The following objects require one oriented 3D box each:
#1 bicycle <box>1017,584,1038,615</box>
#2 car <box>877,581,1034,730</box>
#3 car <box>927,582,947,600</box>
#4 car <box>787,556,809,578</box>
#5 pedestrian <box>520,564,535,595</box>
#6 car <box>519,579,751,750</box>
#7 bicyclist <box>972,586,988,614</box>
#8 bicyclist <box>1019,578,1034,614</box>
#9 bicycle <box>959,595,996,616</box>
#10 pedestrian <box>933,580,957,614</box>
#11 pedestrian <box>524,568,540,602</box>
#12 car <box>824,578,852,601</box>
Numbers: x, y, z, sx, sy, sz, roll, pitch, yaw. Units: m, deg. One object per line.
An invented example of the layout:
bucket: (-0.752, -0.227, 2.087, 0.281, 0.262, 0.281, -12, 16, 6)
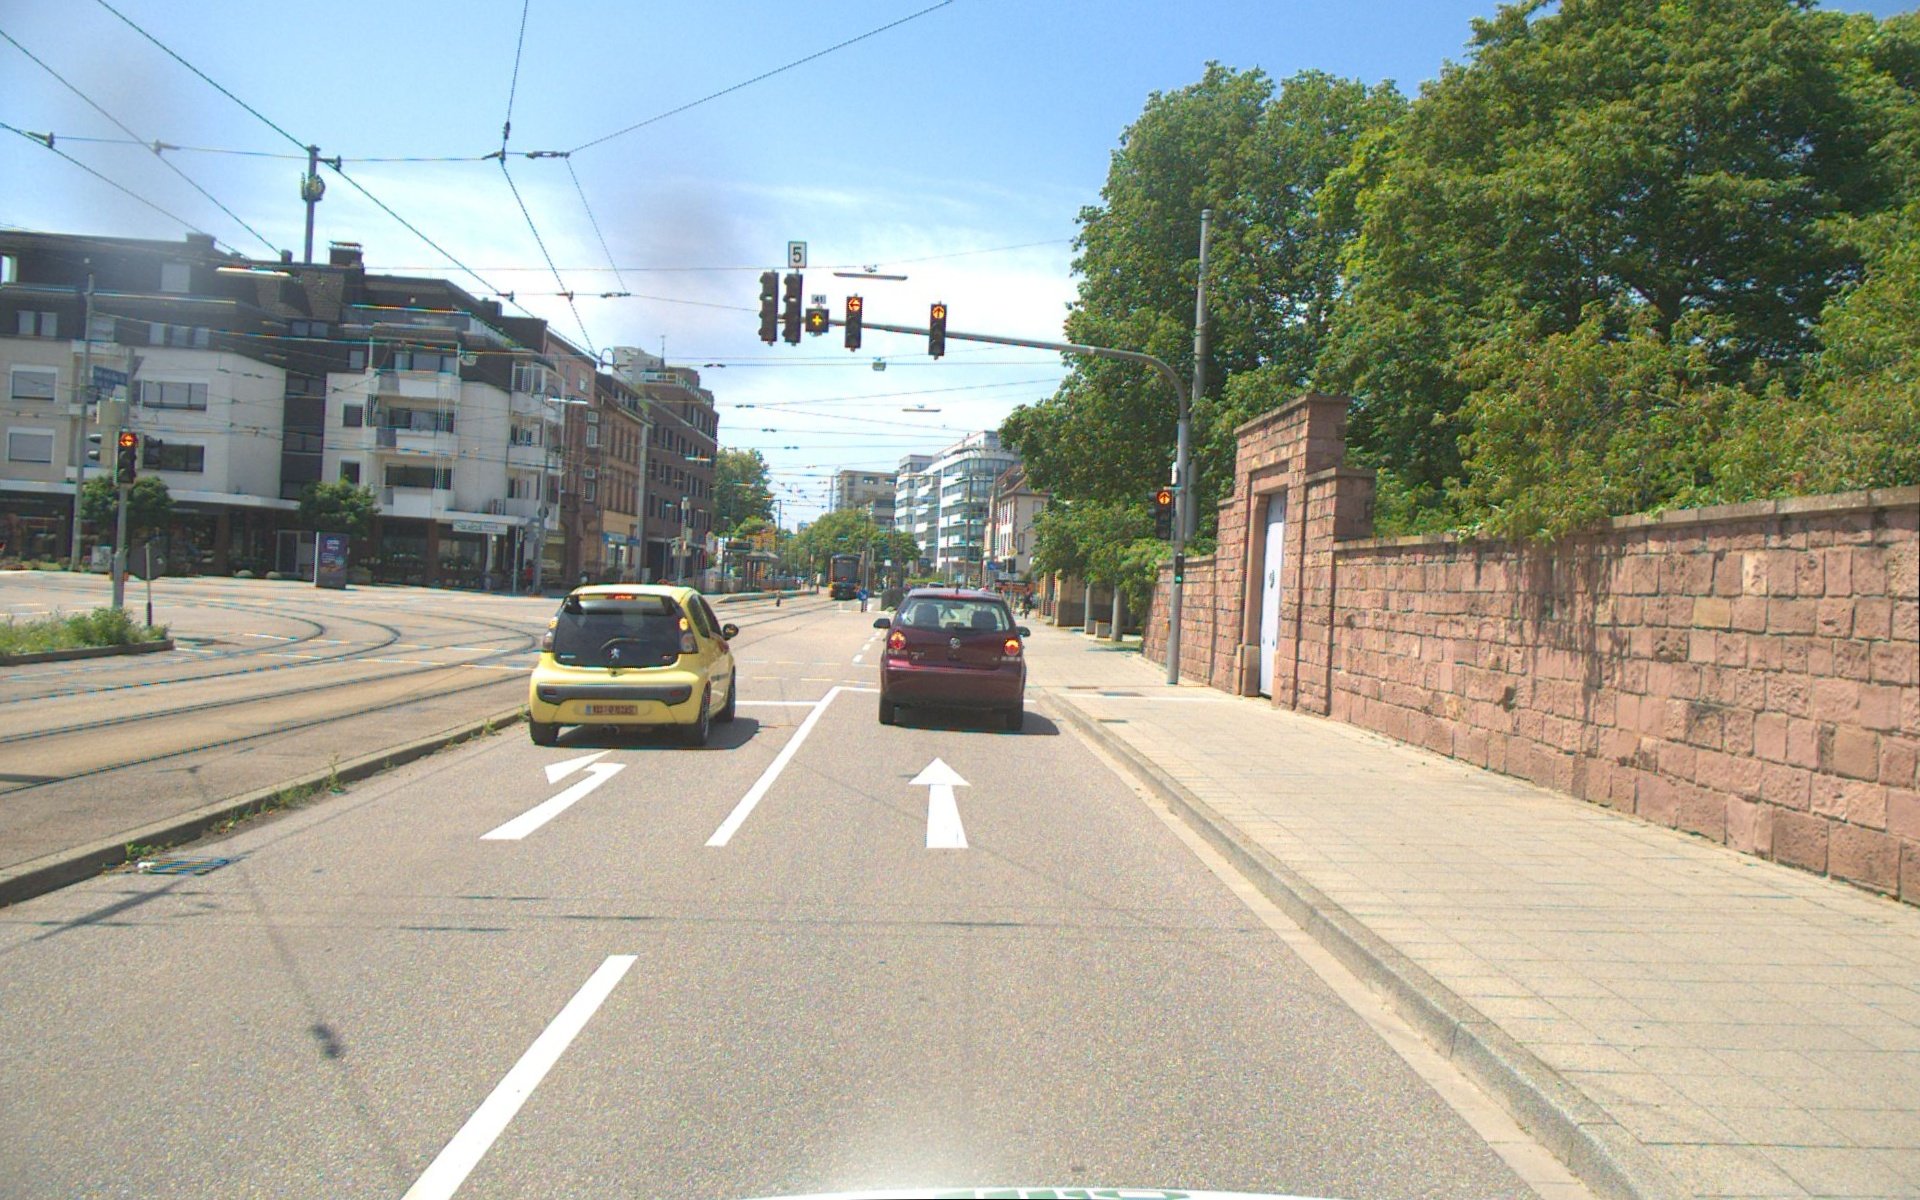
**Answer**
bicycle: (3.486, -0.039, 85.708, 0.818, 1.552, 3.999, 1, 0, -1)
car: (-0.097, 0.562, 19.349, 1.577, 1.489, 4.084, 3, 0, -2)
car: (-1.810, -0.706, 130.754, 1.540, 1.440, 3.719, 0, 1, -1)
car: (-16.188, -3.309, 165.269, 1.700, 2.048, 4.000, 2, 1, -1)
pedestrian: (-22.220, -1.048, 85.018, 0.474, 1.568, 0.538, 1, -1, 23)
car: (-3.083, 0.552, 16.294, 1.688, 1.470, 3.292, 1, 1, -1)
bicyclist: (1.008, -0.003, 85.027, 0.751, 1.430, 0.506, 1, -1, -5)
bicyclist: (3.451, -0.183, 86.381, 0.707, 1.850, 0.888, 1, -1, -1)
bicycle: (0.911, 0.298, 85.057, 1.829, 1.025, 0.578, 1, 0, -6)
pedestrian: (-0.774, -0.176, 84.996, 0.966, 1.690, 0.915, 2, 0, -17)
pedestrian: (-22.618, -0.800, 87.426, 0.497, 1.785, 0.606, 1, -1, 45)
car: (-9.413, -0.795, 128.044, 1.899, 1.670, 3.999, 1, 0, -1)
